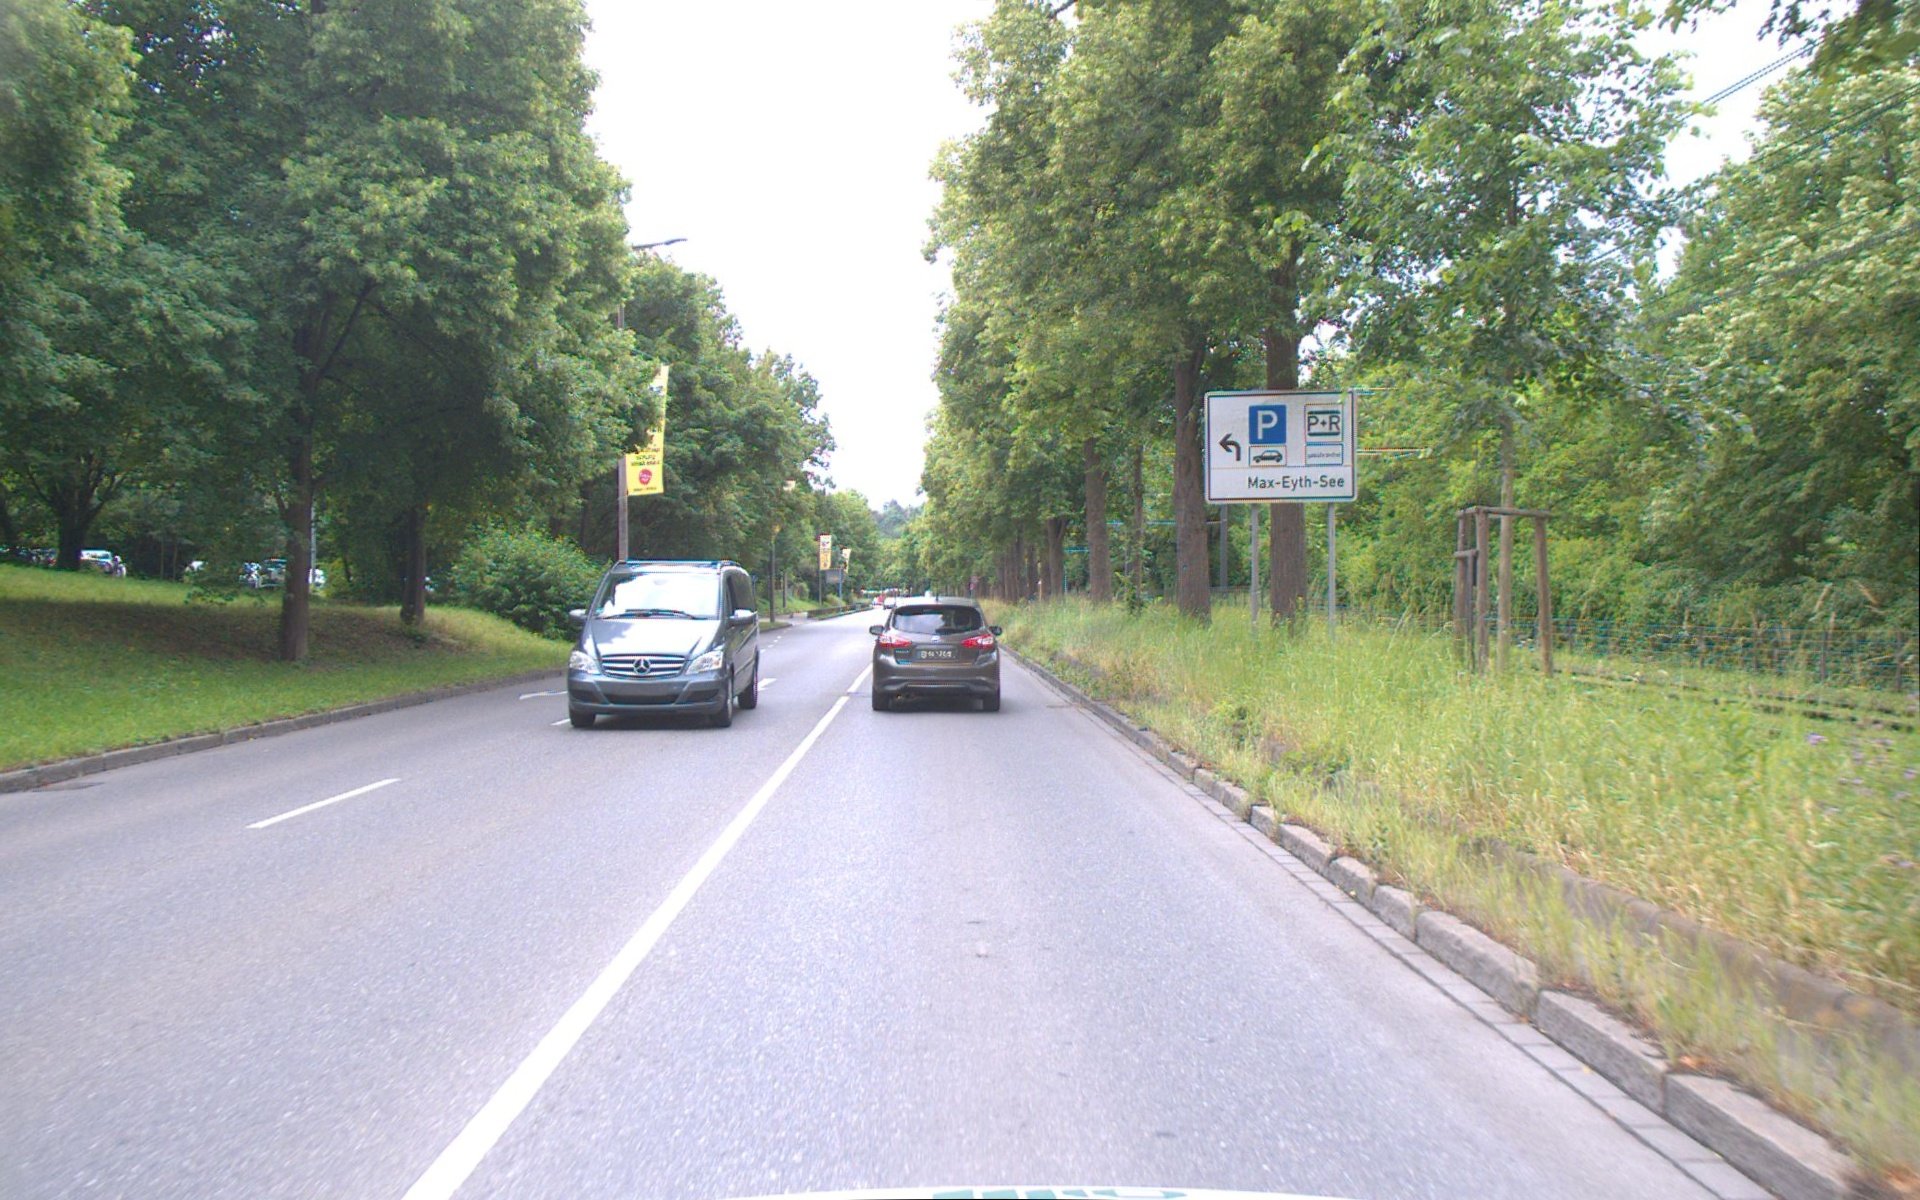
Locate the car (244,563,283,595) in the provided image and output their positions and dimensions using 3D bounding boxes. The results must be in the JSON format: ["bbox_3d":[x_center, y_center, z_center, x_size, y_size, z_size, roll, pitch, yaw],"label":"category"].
[{"bbox_3d":[-33.985,-1.021,80.682,1.625,1.512,3.969,1,0,-25],"label":"car"}]

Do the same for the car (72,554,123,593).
[{"bbox_3d":[-35.137,-1.063,67.440,1.625,1.512,3.969,1,0,-25],"label":"car"}]

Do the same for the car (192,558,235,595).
[{"bbox_3d":[-31.914,-0.997,70.691,1.625,1.512,3.969,1,0,-25],"label":"car"}]

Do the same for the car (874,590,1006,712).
[{"bbox_3d":[-0.311,0.670,23.332,1.695,1.564,3.550,1,0,-2],"label":"car"}]

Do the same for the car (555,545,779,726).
[{"bbox_3d":[-3.536,0.401,20.937,1.953,1.990,5.183,0,0,-1],"label":"car"}]

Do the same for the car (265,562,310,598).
[{"bbox_3d":[-29.229,-0.853,71.884,1.625,1.512,3.969,1,0,-25],"label":"car"}]
